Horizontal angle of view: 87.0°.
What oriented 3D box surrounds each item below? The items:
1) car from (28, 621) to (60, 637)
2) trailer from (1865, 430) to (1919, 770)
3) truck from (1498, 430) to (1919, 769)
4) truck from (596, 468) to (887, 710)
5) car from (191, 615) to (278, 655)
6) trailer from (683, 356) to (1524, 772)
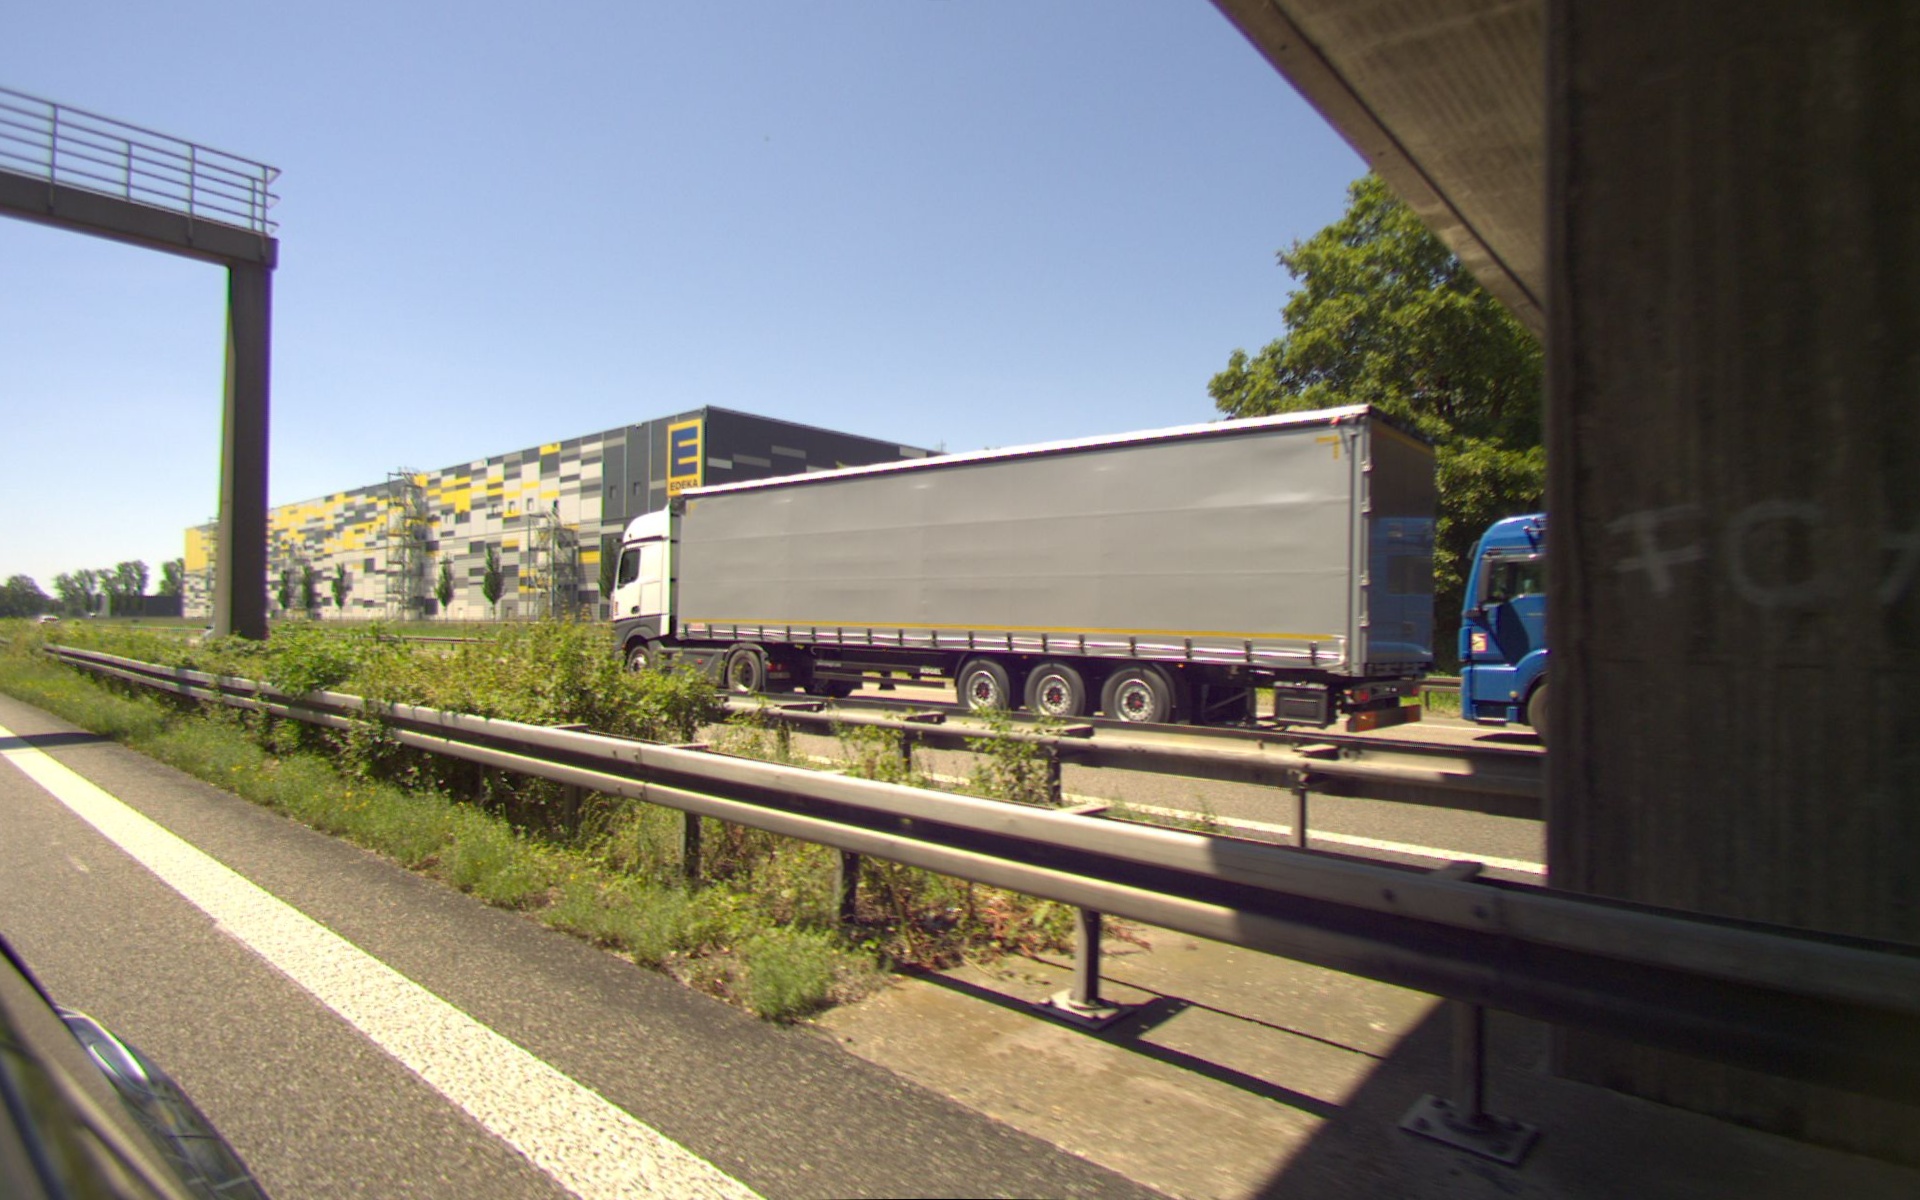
[{"bbox_3d":[-95.407,3.043,105.381,4.740,1.606,1.880,-1,-3,40],"label":"car"},{"bbox_3d":[15.764,-0.045,8.482,12.069,3.823,2.334,-1,-3,41],"label":"trailer"},{"bbox_3d":[10.276,0.064,13.331,5.249,3.804,2.335,-1,-3,41],"label":"truck"},{"bbox_3d":[-4.598,-0.098,20.765,5.886,4.244,2.799,-1,-3,41],"label":"truck"},{"bbox_3d":[-29.959,1.412,41.739,4.237,1.565,1.880,-1,-2,39],"label":"car"},{"bbox_3d":[0.823,-0.219,15.963,13.829,4.257,2.799,-1,-3,41],"label":"trailer"}]
